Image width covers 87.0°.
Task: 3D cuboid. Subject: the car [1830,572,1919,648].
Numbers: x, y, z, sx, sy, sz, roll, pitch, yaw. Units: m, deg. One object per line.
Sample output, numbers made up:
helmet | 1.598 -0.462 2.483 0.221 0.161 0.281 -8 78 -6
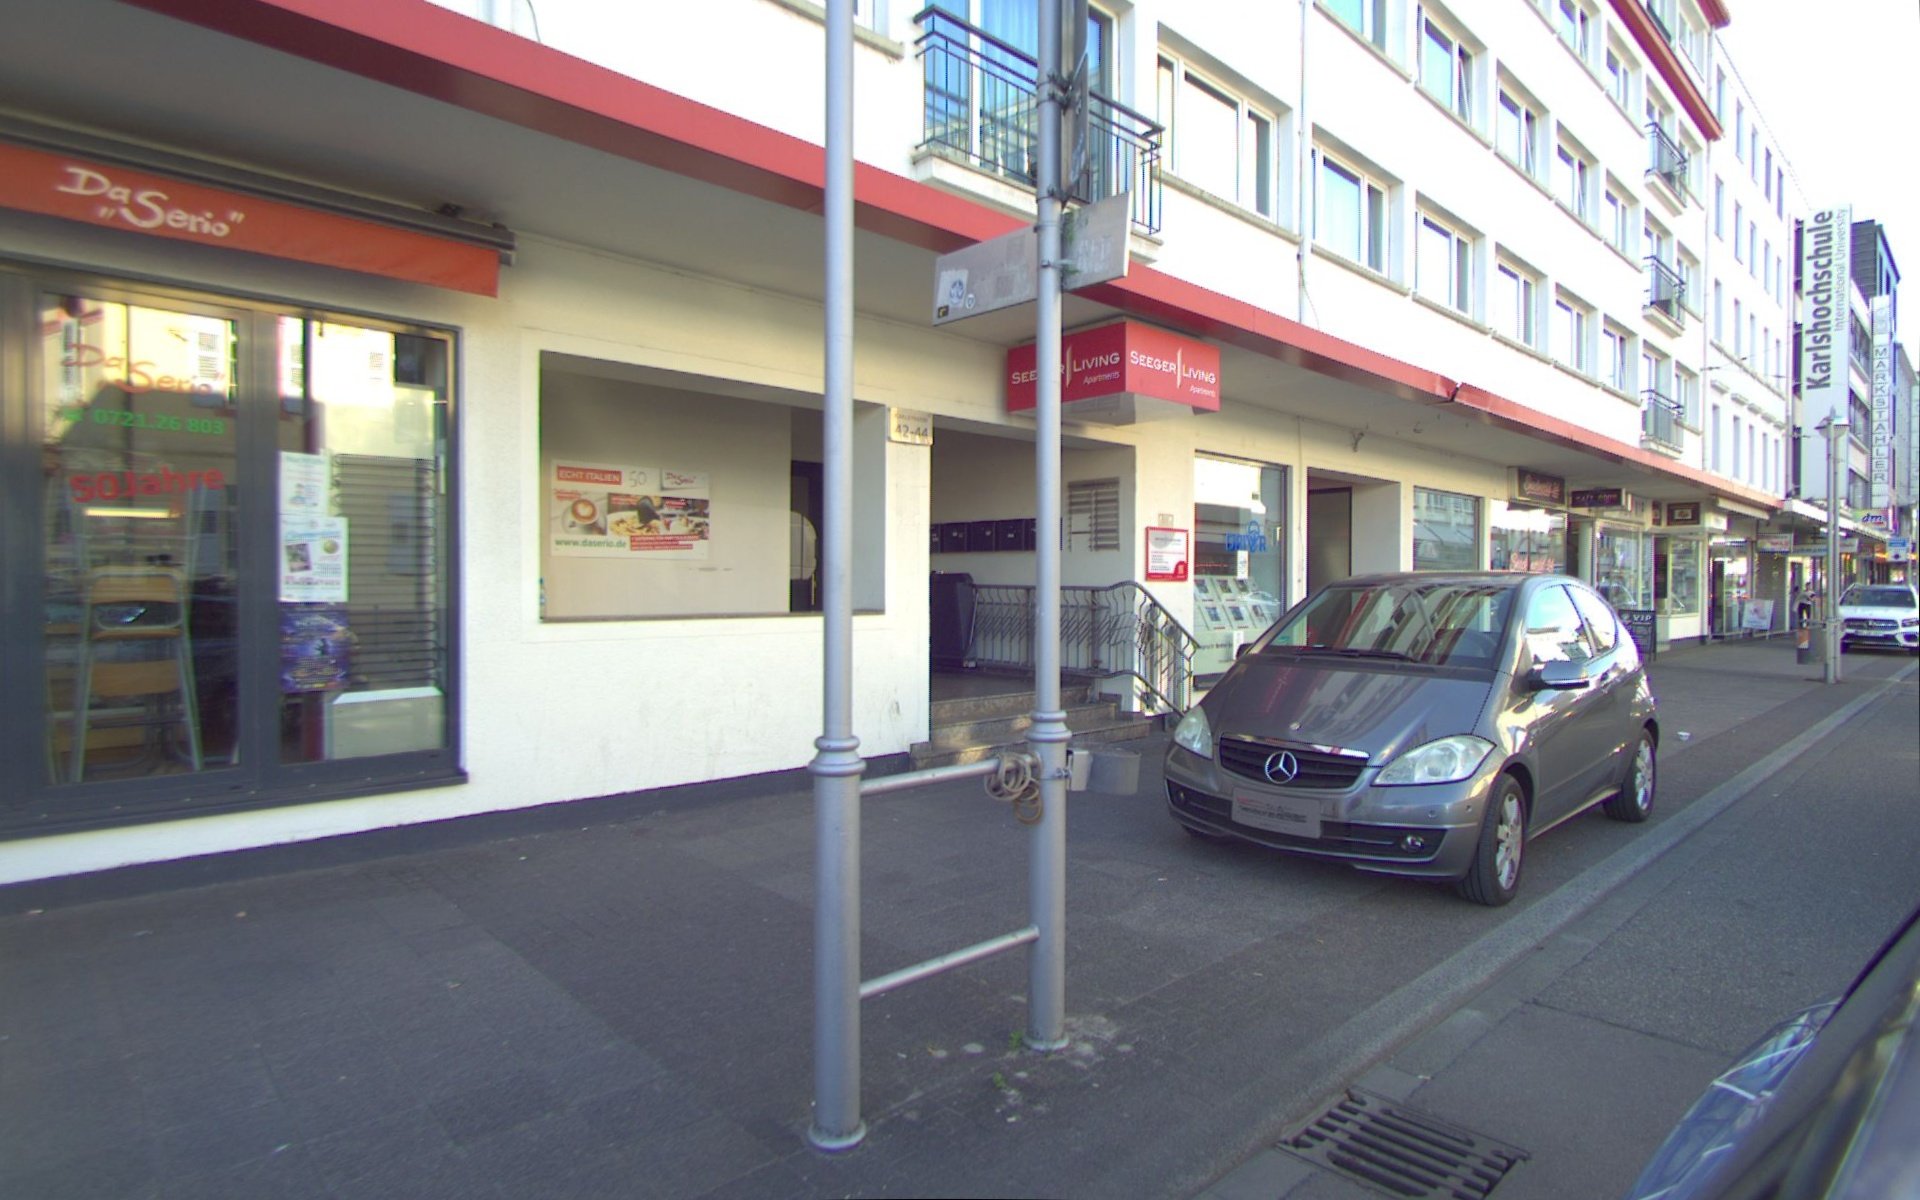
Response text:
car | 22.645 0.183 24.565 4.092 1.683 1.781 -1 3 -42

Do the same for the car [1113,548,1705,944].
car | 2.849 0.518 6.014 3.894 1.588 1.780 -1 3 -42

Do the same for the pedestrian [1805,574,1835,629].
pedestrian | 29.502 0.051 34.729 0.794 1.840 0.704 -1 0 -44
